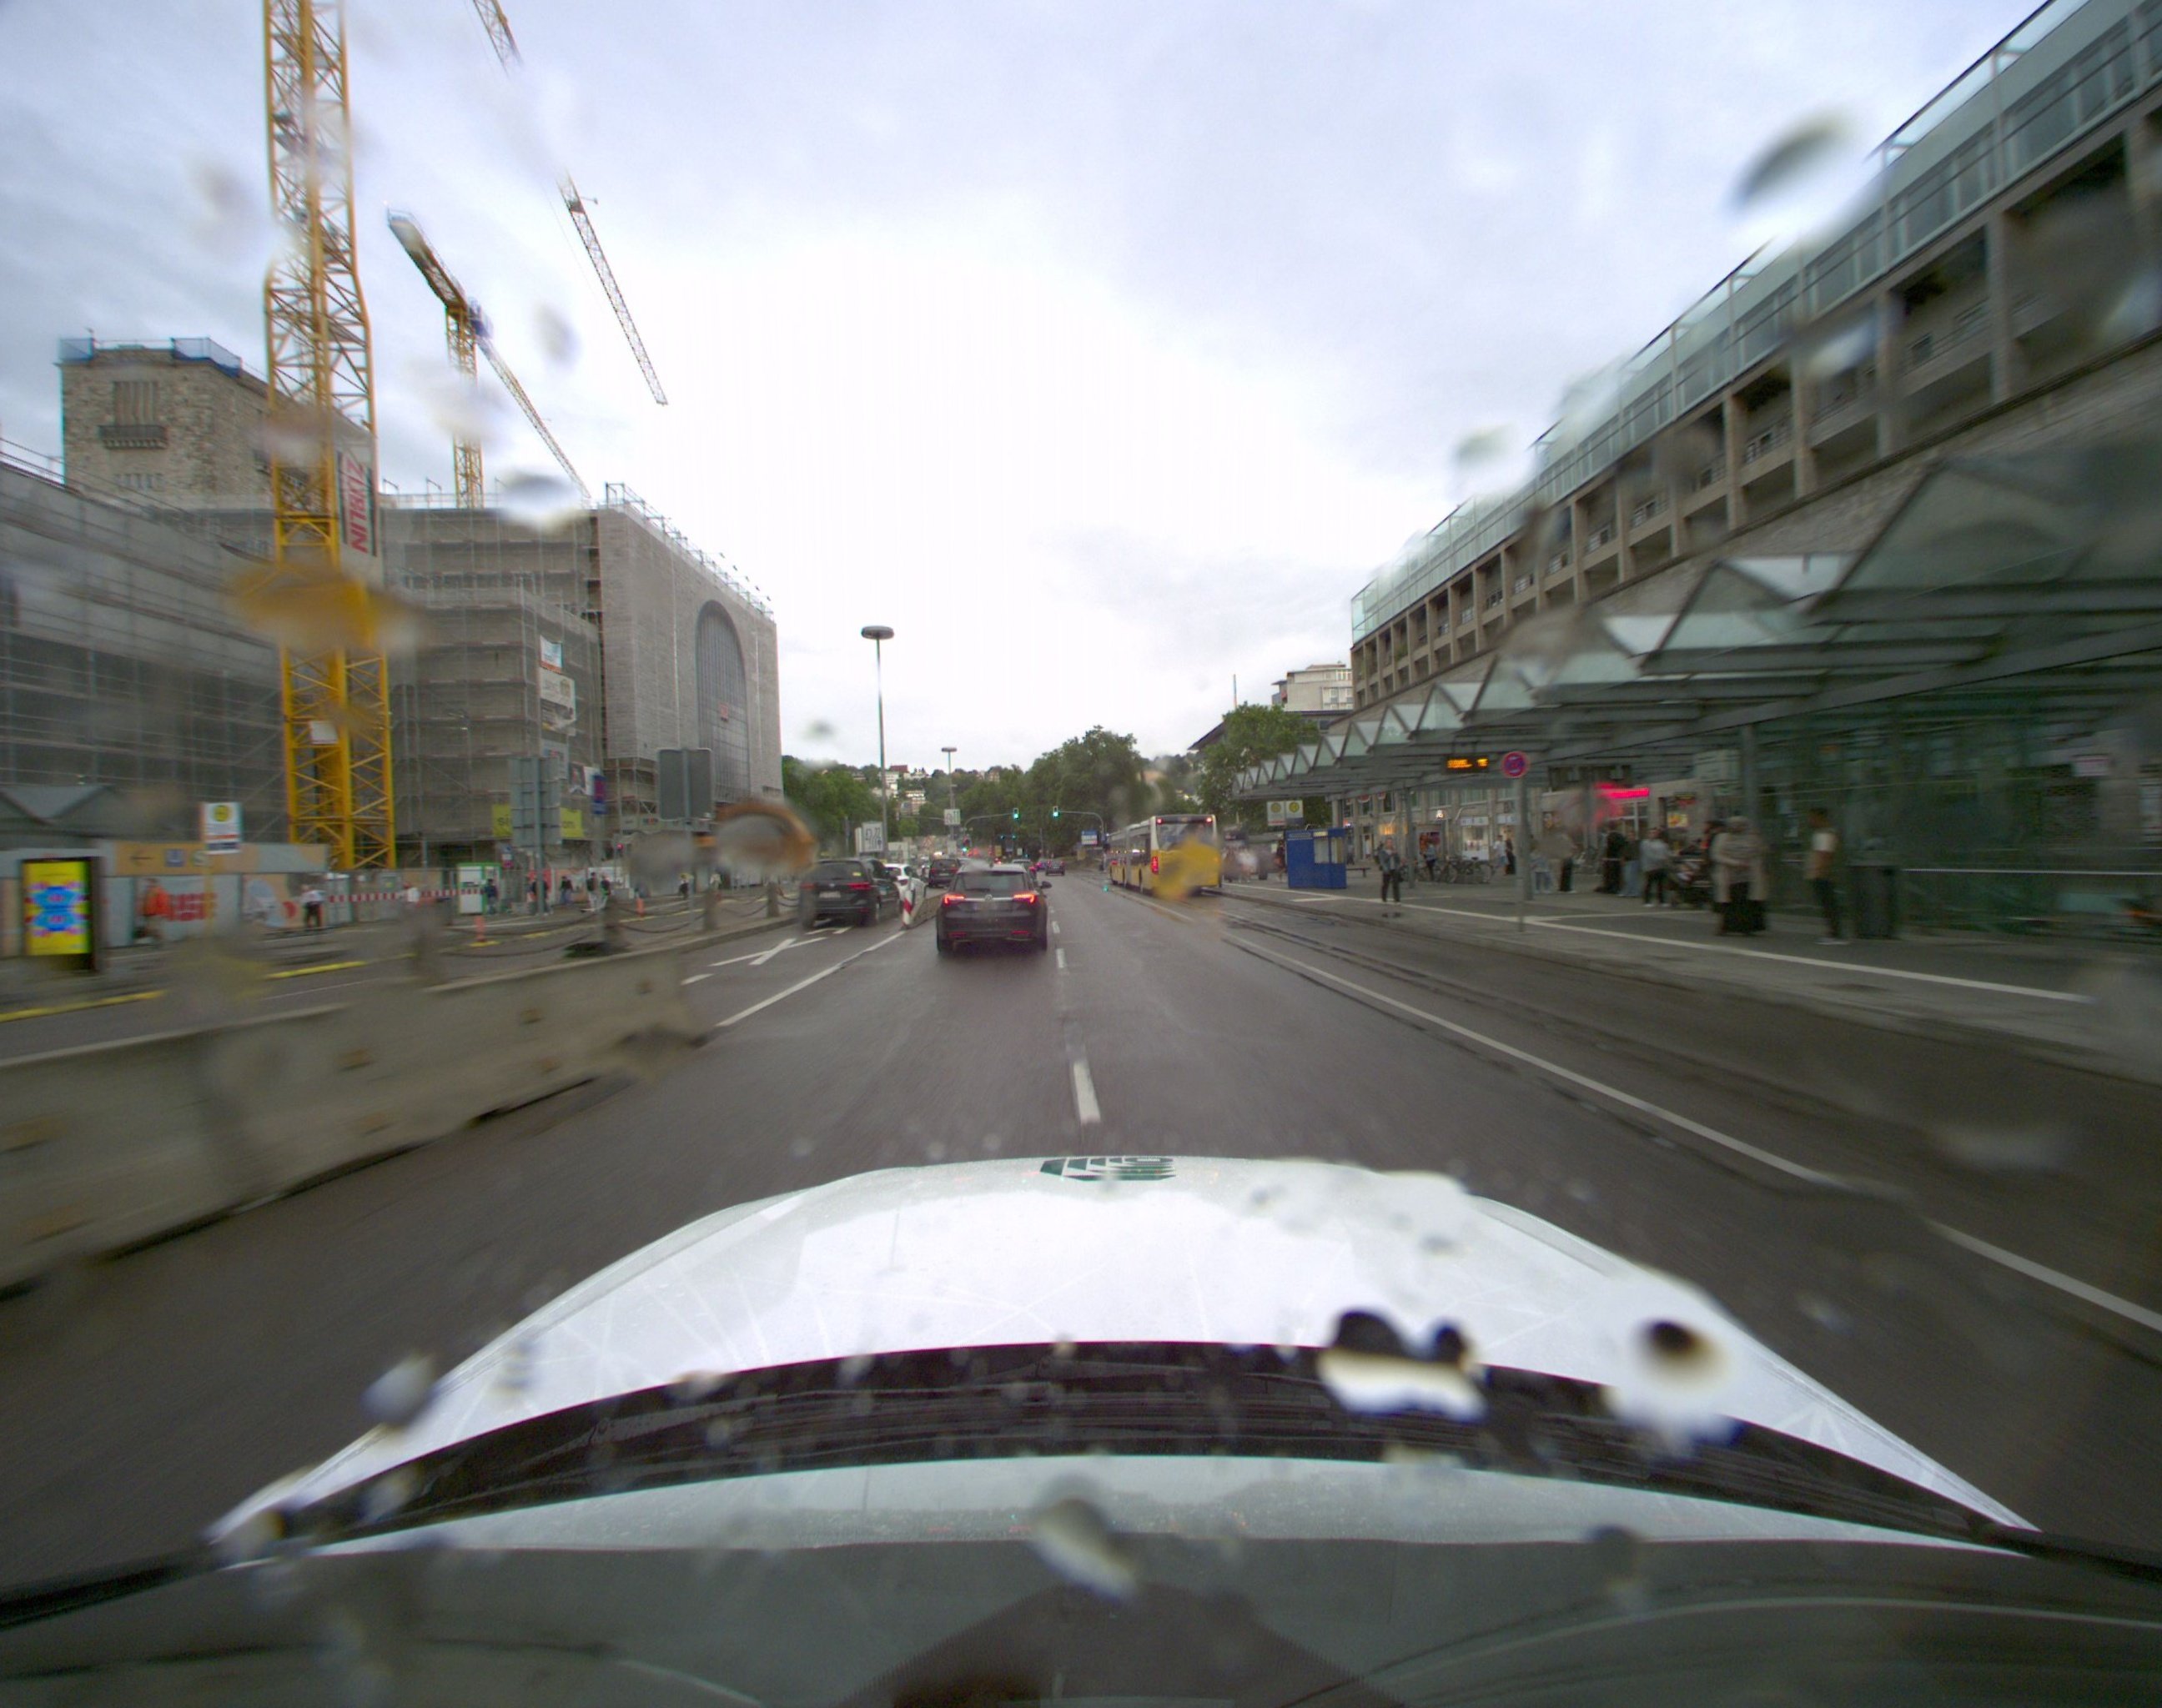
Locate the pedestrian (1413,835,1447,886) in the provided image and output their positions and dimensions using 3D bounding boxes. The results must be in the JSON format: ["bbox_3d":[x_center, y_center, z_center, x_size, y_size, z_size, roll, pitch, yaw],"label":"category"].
[{"bbox_3d":[12.120,0.223,28.335,0.746,1.695,0.902,-2,-1,0],"label":"pedestrian"}]

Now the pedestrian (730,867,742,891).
[{"bbox_3d":[-27.163,1.971,64.112,0.773,1.841,0.830,-2,-1,-17],"label":"pedestrian"}]

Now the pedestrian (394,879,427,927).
[{"bbox_3d":[-26.100,1.903,31.702,0.719,1.841,0.612,-2,-1,1],"label":"pedestrian"}]

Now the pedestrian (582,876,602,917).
[{"bbox_3d":[-22.887,1.978,38.139,0.507,1.841,0.702,-2,-1,-9],"label":"pedestrian"}]

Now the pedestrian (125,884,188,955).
[{"bbox_3d":[-25.868,1.813,22.808,0.740,1.940,0.863,0,-1,-3],"label":"pedestrian"}]

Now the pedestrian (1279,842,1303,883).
[{"bbox_3d":[9.576,0.389,37.206,0.978,1.836,0.838,-2,-1,13],"label":"pedestrian"}]

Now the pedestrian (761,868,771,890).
[{"bbox_3d":[-27.278,2.178,70.453,0.535,1.841,0.770,-2,-1,-5],"label":"pedestrian"}]

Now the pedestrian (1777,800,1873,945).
[{"bbox_3d":[9.797,0.232,10.748,0.625,1.836,0.641,-2,-1,-1],"label":"pedestrian"}]

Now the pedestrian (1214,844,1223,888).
[{"bbox_3d":[5.813,0.500,34.414,0.242,1.836,0.512,-2,-1,1],"label":"pedestrian"}]

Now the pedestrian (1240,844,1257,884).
[{"bbox_3d":[7.875,0.464,38.346,0.689,1.836,0.557,-2,-1,13],"label":"pedestrian"}]

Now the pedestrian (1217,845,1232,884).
[{"bbox_3d":[6.939,0.492,39.325,0.563,1.836,0.569,-2,-1,0],"label":"pedestrian"}]

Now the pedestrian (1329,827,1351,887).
[{"bbox_3d":[9.713,0.105,30.541,0.588,2.215,0.587,-2,-1,-1],"label":"pedestrian"}]

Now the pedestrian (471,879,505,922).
[{"bbox_3d":[-26.244,2.038,36.041,0.800,1.841,0.868,-2,-1,1],"label":"pedestrian"}]

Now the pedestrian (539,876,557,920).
[{"bbox_3d":[-23.063,1.903,35.233,0.336,1.841,0.511,-2,-1,13],"label":"pedestrian"}]

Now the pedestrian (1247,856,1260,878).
[{"bbox_3d":[10.145,0.756,47.943,0.512,1.232,0.770,-3,-1,0],"label":"pedestrian"}]

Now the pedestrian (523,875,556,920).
[{"bbox_3d":[-22.893,1.826,34.416,0.695,1.841,0.883,-2,-1,26],"label":"pedestrian"}]

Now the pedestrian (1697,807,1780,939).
[{"bbox_3d":[9.497,0.264,11.787,0.673,1.836,0.574,-2,-1,-1],"label":"pedestrian"}]

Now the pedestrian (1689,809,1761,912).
[{"bbox_3d":[11.889,0.126,15.056,0.745,1.836,0.764,-2,-1,13],"label":"pedestrian"}]

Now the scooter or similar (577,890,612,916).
[{"bbox_3d":[-21.620,2.172,36.220,0.454,1.066,1.248,-2,0,32],"label":"scooter or similar"}]

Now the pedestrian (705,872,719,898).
[{"bbox_3d":[-24.815,2.099,54.769,0.683,1.685,0.834,-2,-1,-17],"label":"pedestrian"}]

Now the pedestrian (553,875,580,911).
[{"bbox_3d":[-27.354,2.062,43.299,0.800,1.841,0.851,-2,-1,1],"label":"pedestrian"}]

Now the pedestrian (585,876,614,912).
[{"bbox_3d":[-25.444,2.115,43.052,0.836,1.841,1.058,-2,0,1],"label":"pedestrian"}]

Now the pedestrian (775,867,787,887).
[{"bbox_3d":[-28.252,2.129,76.605,0.777,1.841,0.770,-2,0,-4],"label":"pedestrian"}]

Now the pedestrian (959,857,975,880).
[{"bbox_3d":[-10.084,1.274,71.903,0.825,2.013,1.034,-2,0,34],"label":"pedestrian"}]

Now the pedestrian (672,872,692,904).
[{"bbox_3d":[-23.499,1.993,48.003,0.877,1.841,0.834,-2,-1,-17],"label":"pedestrian"}]

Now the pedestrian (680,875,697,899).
[{"bbox_3d":[-26.489,2.219,54.975,0.674,1.613,0.838,-2,-1,-1],"label":"pedestrian"}]

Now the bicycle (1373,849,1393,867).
[{"bbox_3d":[22.386,0.316,60.479,0.657,1.255,2.012,-2,0,-1],"label":"bicycle"}]

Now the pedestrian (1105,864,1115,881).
[{"bbox_3d":[3.018,1.949,84.605,0.873,1.691,0.757,-2,0,-4],"label":"pedestrian"}]

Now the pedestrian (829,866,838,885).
[{"bbox_3d":[-25.224,2.188,82.941,0.696,1.841,0.527,-2,-1,-5],"label":"pedestrian"}]

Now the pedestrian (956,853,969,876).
[{"bbox_3d":[-10.294,0.903,70.933,0.825,2.013,0.627,-2,0,33],"label":"pedestrian"}]

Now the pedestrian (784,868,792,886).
[{"bbox_3d":[-29.465,2.323,81.994,0.676,1.841,0.716,-2,-1,-17],"label":"pedestrian"}]

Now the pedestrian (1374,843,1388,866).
[{"bbox_3d":[23.861,0.055,64.854,0.729,1.792,0.788,-2,-1,-4],"label":"pedestrian"}]

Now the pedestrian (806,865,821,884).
[{"bbox_3d":[-26.895,2.078,81.951,0.975,1.841,1.046,-3,0,17],"label":"pedestrian"}]

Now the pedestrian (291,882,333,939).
[{"bbox_3d":[-25.865,1.882,27.383,0.740,1.841,0.656,-2,-1,1],"label":"pedestrian"}]

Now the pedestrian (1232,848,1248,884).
[{"bbox_3d":[7.668,0.562,39.194,0.607,1.723,0.592,-2,-1,1],"label":"pedestrian"}]

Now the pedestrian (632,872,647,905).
[{"bbox_3d":[-25.377,1.989,46.813,0.572,1.841,0.700,-2,-1,-17],"label":"pedestrian"}]
